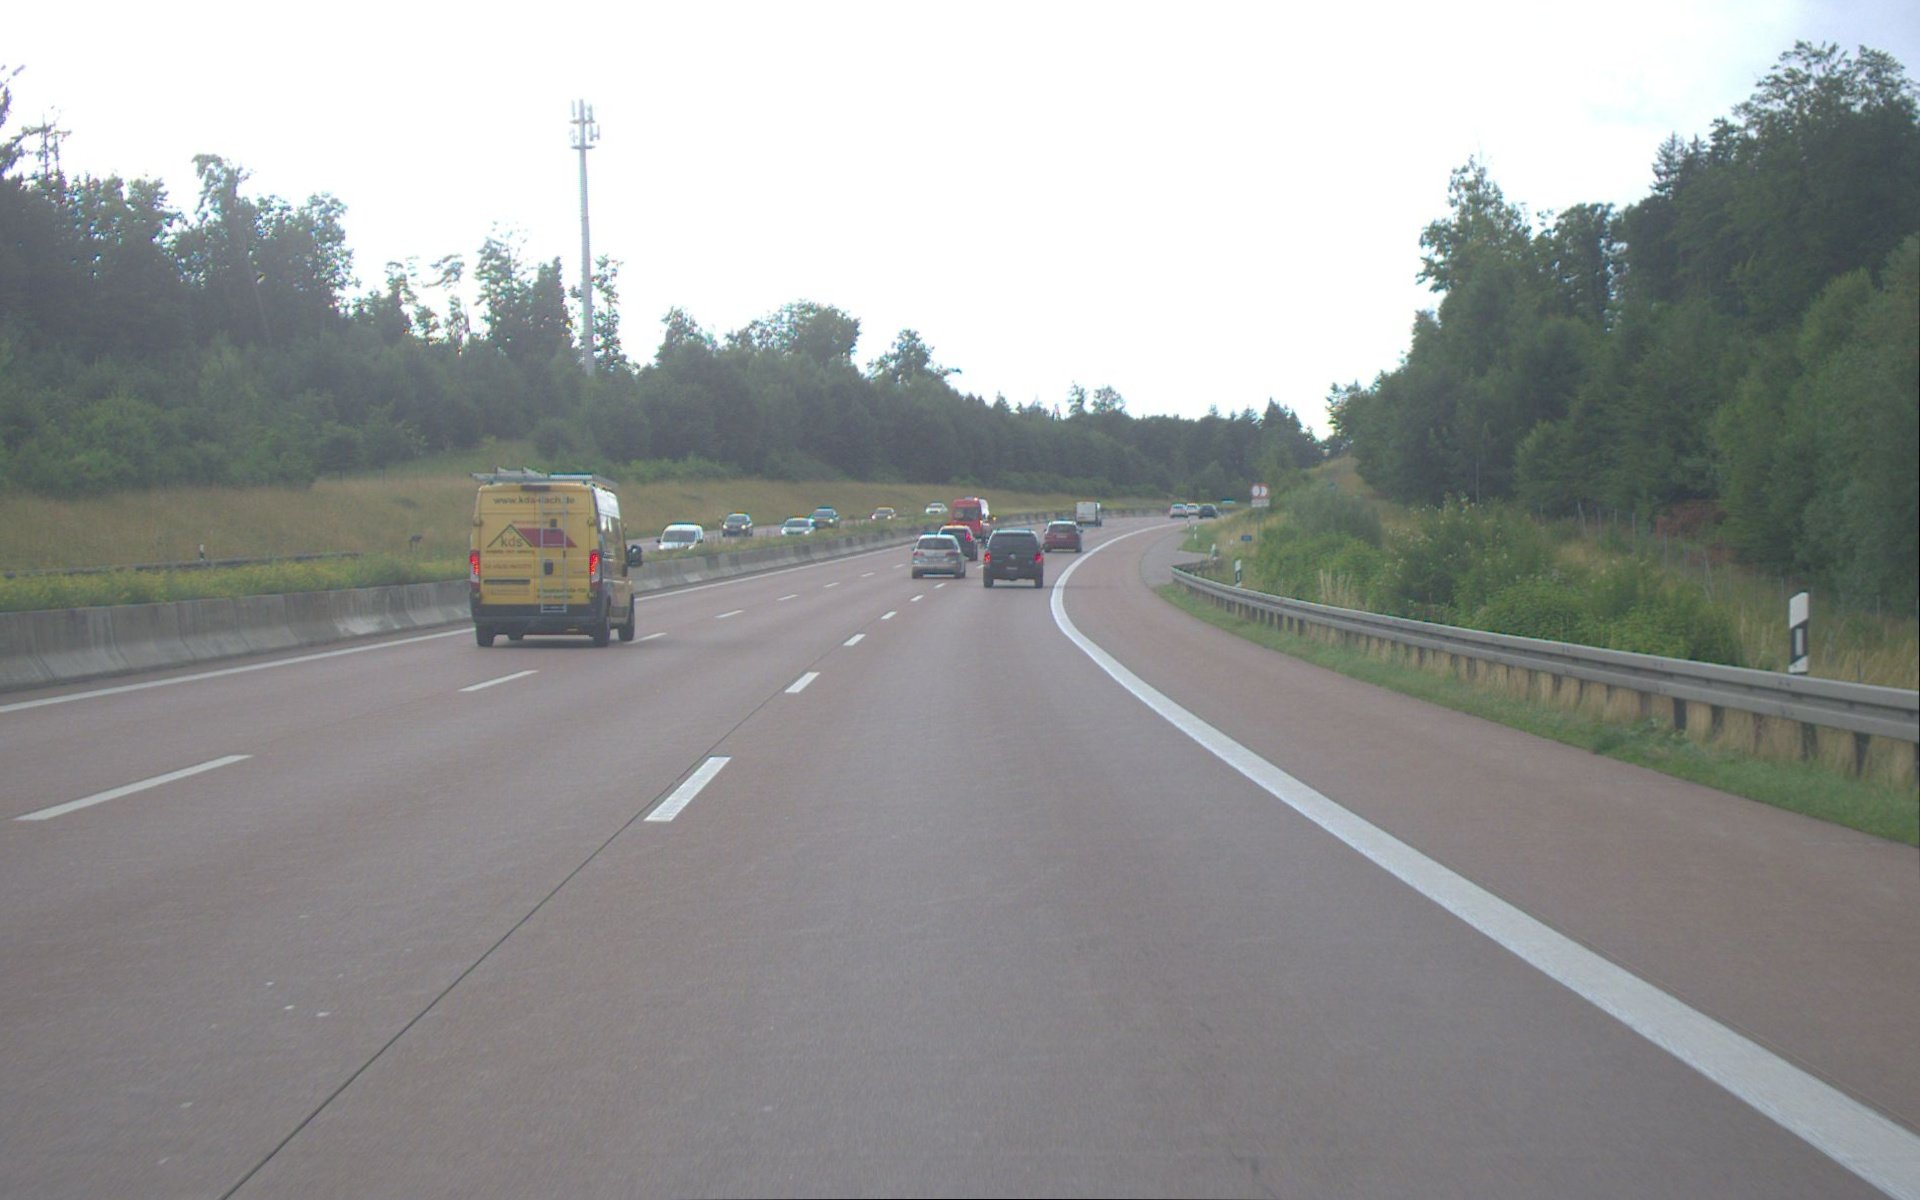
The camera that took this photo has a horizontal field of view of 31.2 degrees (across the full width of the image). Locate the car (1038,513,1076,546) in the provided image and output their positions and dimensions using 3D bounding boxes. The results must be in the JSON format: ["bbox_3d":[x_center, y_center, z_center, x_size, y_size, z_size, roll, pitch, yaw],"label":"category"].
[{"bbox_3d":[5.152,-3.740,182.771,1.978,1.642,4.619,0,0,1],"label":"car"}]

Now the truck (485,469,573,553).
[{"bbox_3d":[-19.293,-3.962,154.077,3.012,3.570,6.057,1,0,1],"label":"truck"}]

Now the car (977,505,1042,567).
[{"bbox_3d":[1.573,-2.030,110.358,2.044,1.890,5.577,0,0,0],"label":"car"}]

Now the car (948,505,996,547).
[{"bbox_3d":[0.737,-4.451,207.684,2.241,2.421,6.203,2,1,5],"label":"car"}]

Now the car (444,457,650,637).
[{"bbox_3d":[-6.500,-0.823,54.775,2.458,2.697,5.613,0,0,1],"label":"car"}]

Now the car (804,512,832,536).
[{"bbox_3d":[-10.286,-5.520,249.116,1.762,1.632,4.380,1,0,1],"label":"car"}]

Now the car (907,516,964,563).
[{"bbox_3d":[-0.854,-2.176,123.894,1.977,1.642,4.619,0,0,0],"label":"car"}]

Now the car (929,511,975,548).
[{"bbox_3d":[-0.358,-3.259,159.761,1.978,1.642,4.619,0,0,1],"label":"car"}]
